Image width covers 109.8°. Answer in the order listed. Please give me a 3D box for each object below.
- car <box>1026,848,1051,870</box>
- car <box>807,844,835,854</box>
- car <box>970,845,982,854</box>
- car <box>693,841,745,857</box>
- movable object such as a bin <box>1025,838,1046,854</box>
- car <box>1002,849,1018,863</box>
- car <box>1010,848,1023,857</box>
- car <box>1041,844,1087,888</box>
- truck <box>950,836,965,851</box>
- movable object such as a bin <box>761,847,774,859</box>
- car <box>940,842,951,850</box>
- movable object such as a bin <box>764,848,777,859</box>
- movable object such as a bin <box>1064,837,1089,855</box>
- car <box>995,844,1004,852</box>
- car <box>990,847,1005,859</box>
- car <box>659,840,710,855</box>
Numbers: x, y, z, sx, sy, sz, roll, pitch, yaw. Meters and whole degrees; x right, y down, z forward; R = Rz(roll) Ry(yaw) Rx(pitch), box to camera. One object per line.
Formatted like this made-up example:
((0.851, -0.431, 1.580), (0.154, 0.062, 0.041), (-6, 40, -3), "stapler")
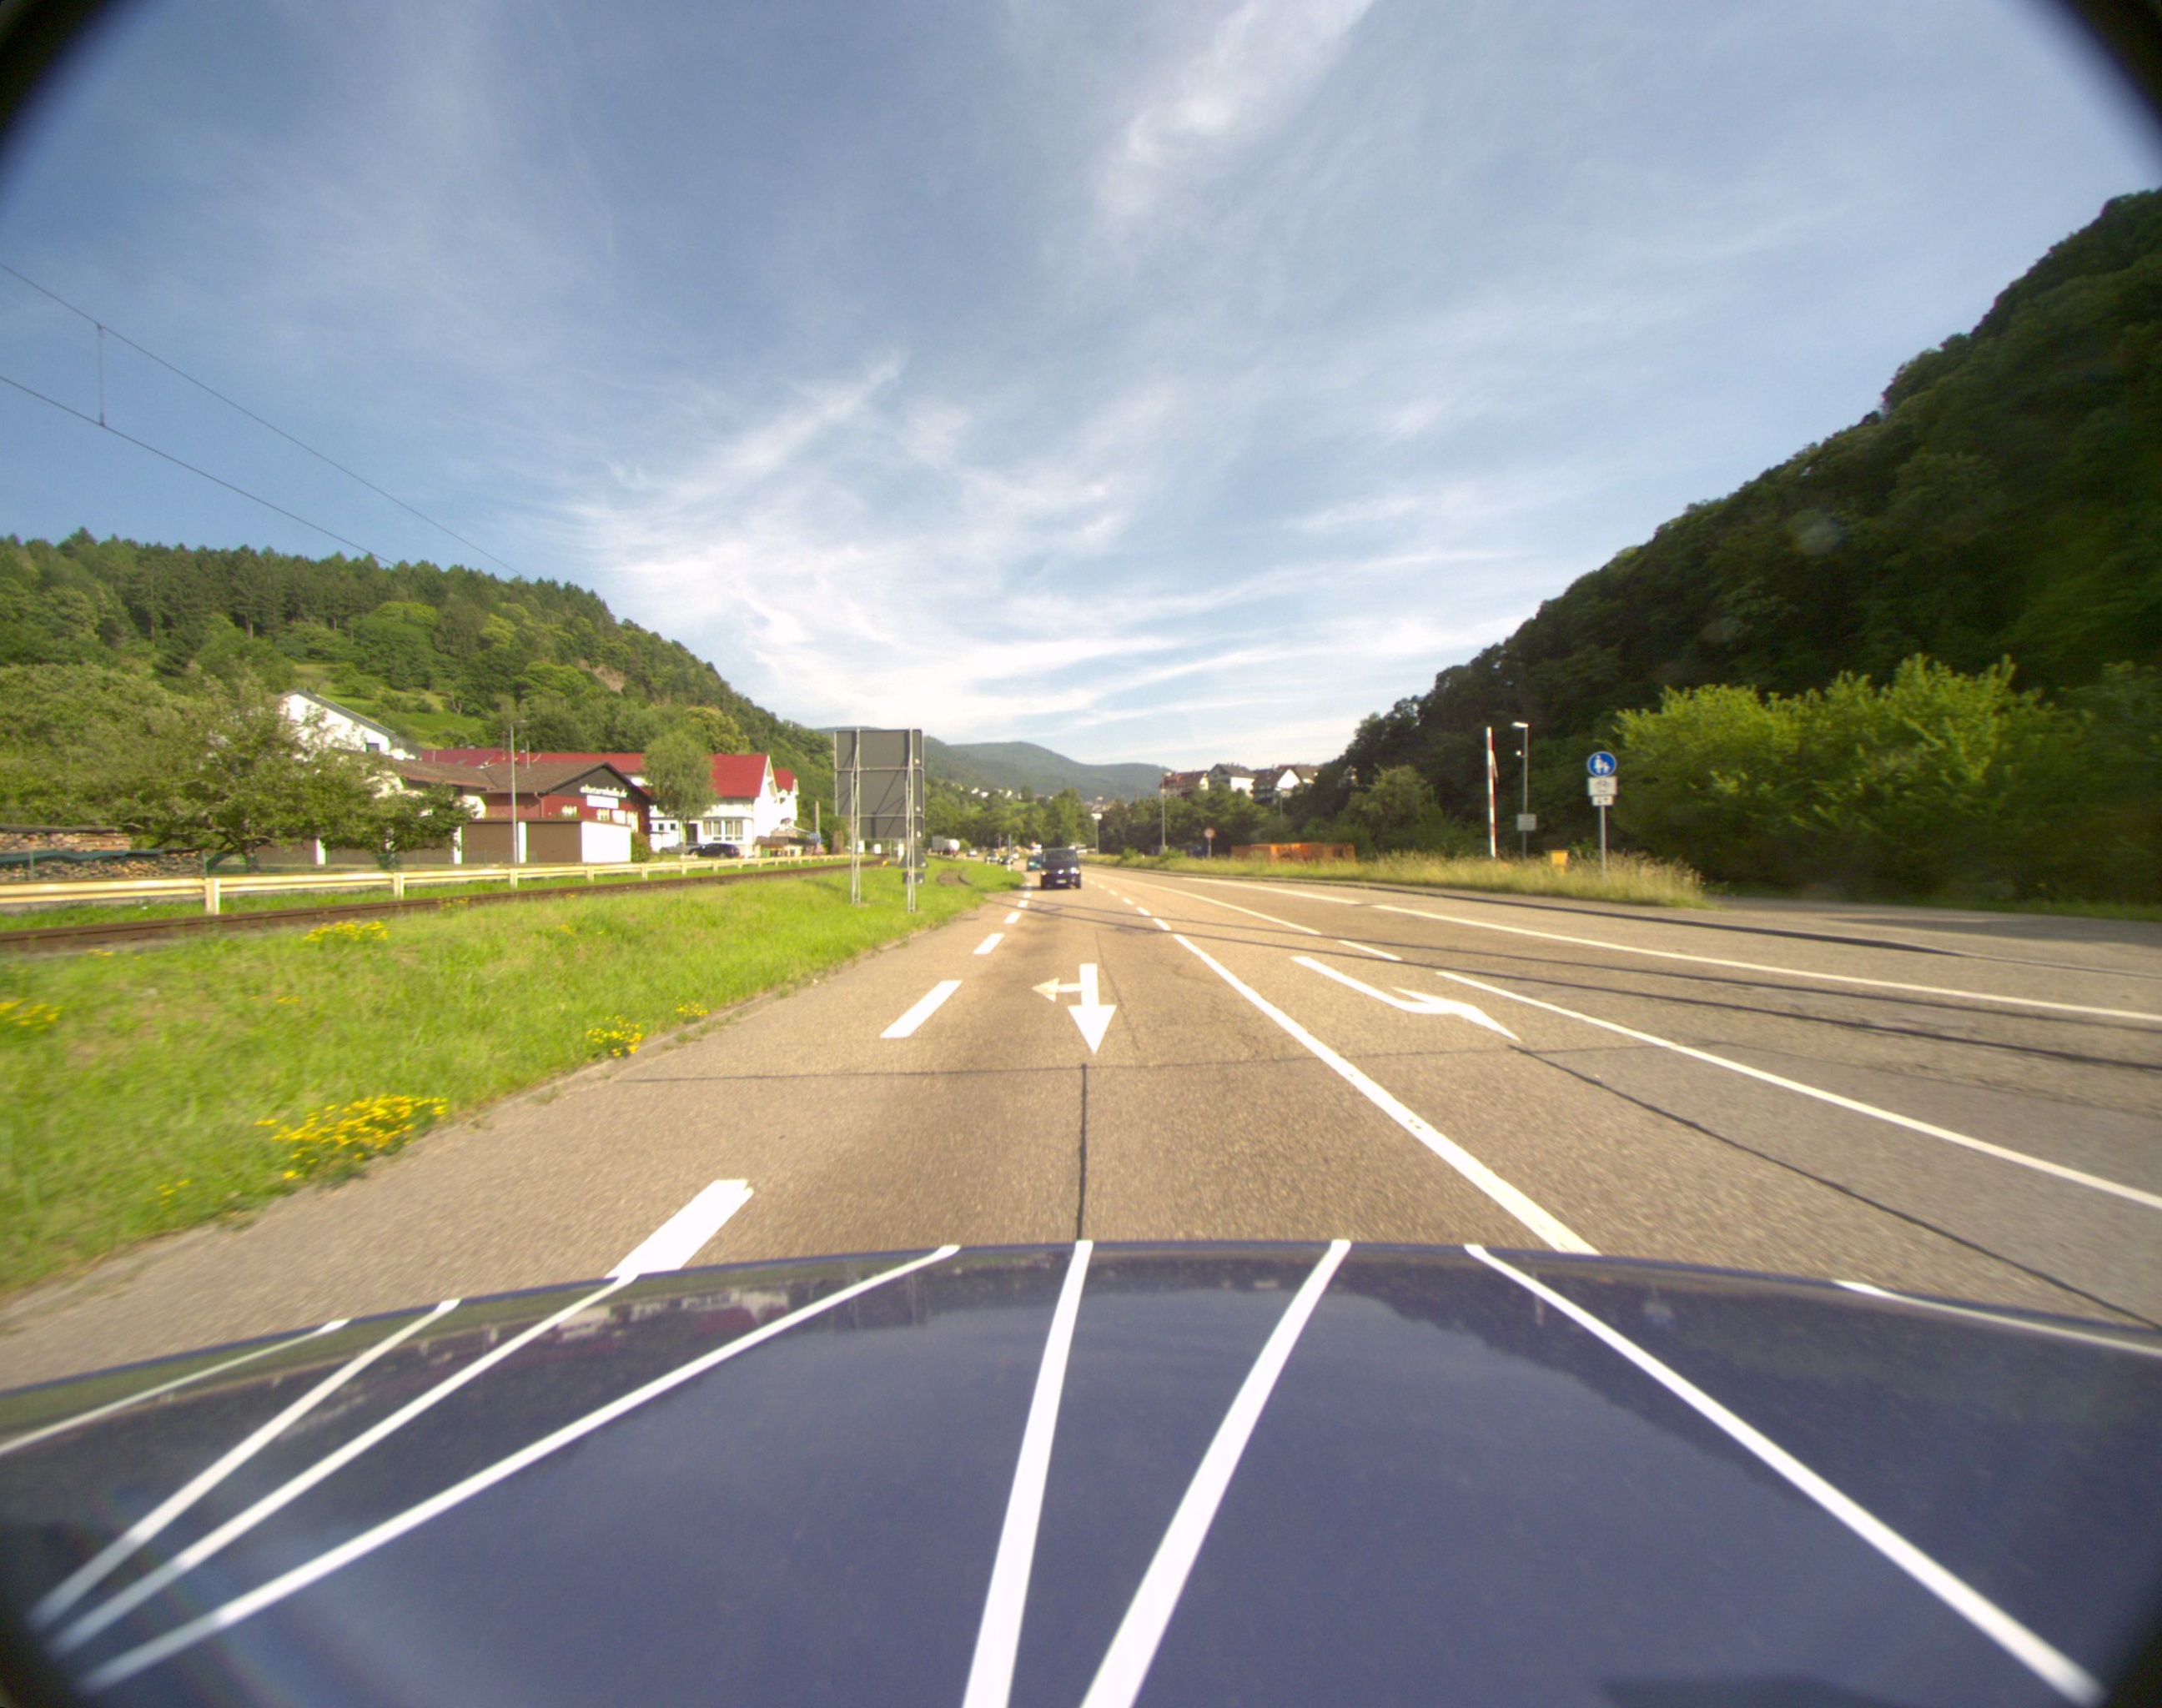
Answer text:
((-4.109, 0.468, 72.728), (2.000, 2.002, 3.996), (1, 0, -9), "car")
((-41.293, -0.742, 120.690), (4.003, 1.521, 1.997), (1, -1, -16), "car")
((-23.633, -1.005, 171.338), (2.002, 2.002, 3.993), (1, 0, -18), "car")
((-34.159, -0.481, 71.819), (3.999, 1.368, 1.824), (2, 0, -5), "car")
((-11.474, -1.953, 190.033), (2.734, 3.924, 7.213), (1, 1, -24), "movable object such as a bin")
((-10.027, 0.275, 106.552), (2.000, 2.002, 3.997), (1, 0, -8), "car")
((-11.199, -0.256, 131.479), (1.784, 1.340, 4.506), (-3, 1, -10), "car")
((-0.873, 0.590, 36.741), (1.999, 2.001, 3.999), (0, -1, -4), "car")
((-32.350, -2.685, 198.797), (2.760, 3.813, 14.543), (-2, 1, -13), "truck")
((-28.191, -0.050, 68.351), (0.810, 1.044, 0.911), (-2, 1, -8), "movable object such as a bin")
((-32.667, -1.926, 183.576), (2.002, 2.002, 3.993), (1, 0, -20), "car")
((-28.375, -0.045, 69.405), (0.810, 1.044, 0.911), (-2, 1, -8), "movable object such as a bin")
((-1.070, -1.915, 174.026), (2.911, 3.924, 7.791), (1, 1, -24), "movable object such as a bin")
((-16.231, -1.217, 151.377), (1.729, 1.615, 3.793), (-2, 1, -8), "car")
((-13.931, -0.154, 126.477), (2.001, 2.002, 3.995), (1, 0, -12), "car")
((-38.785, -0.620, 74.363), (4.000, 1.368, 1.824), (2, 0, -8), "car")
